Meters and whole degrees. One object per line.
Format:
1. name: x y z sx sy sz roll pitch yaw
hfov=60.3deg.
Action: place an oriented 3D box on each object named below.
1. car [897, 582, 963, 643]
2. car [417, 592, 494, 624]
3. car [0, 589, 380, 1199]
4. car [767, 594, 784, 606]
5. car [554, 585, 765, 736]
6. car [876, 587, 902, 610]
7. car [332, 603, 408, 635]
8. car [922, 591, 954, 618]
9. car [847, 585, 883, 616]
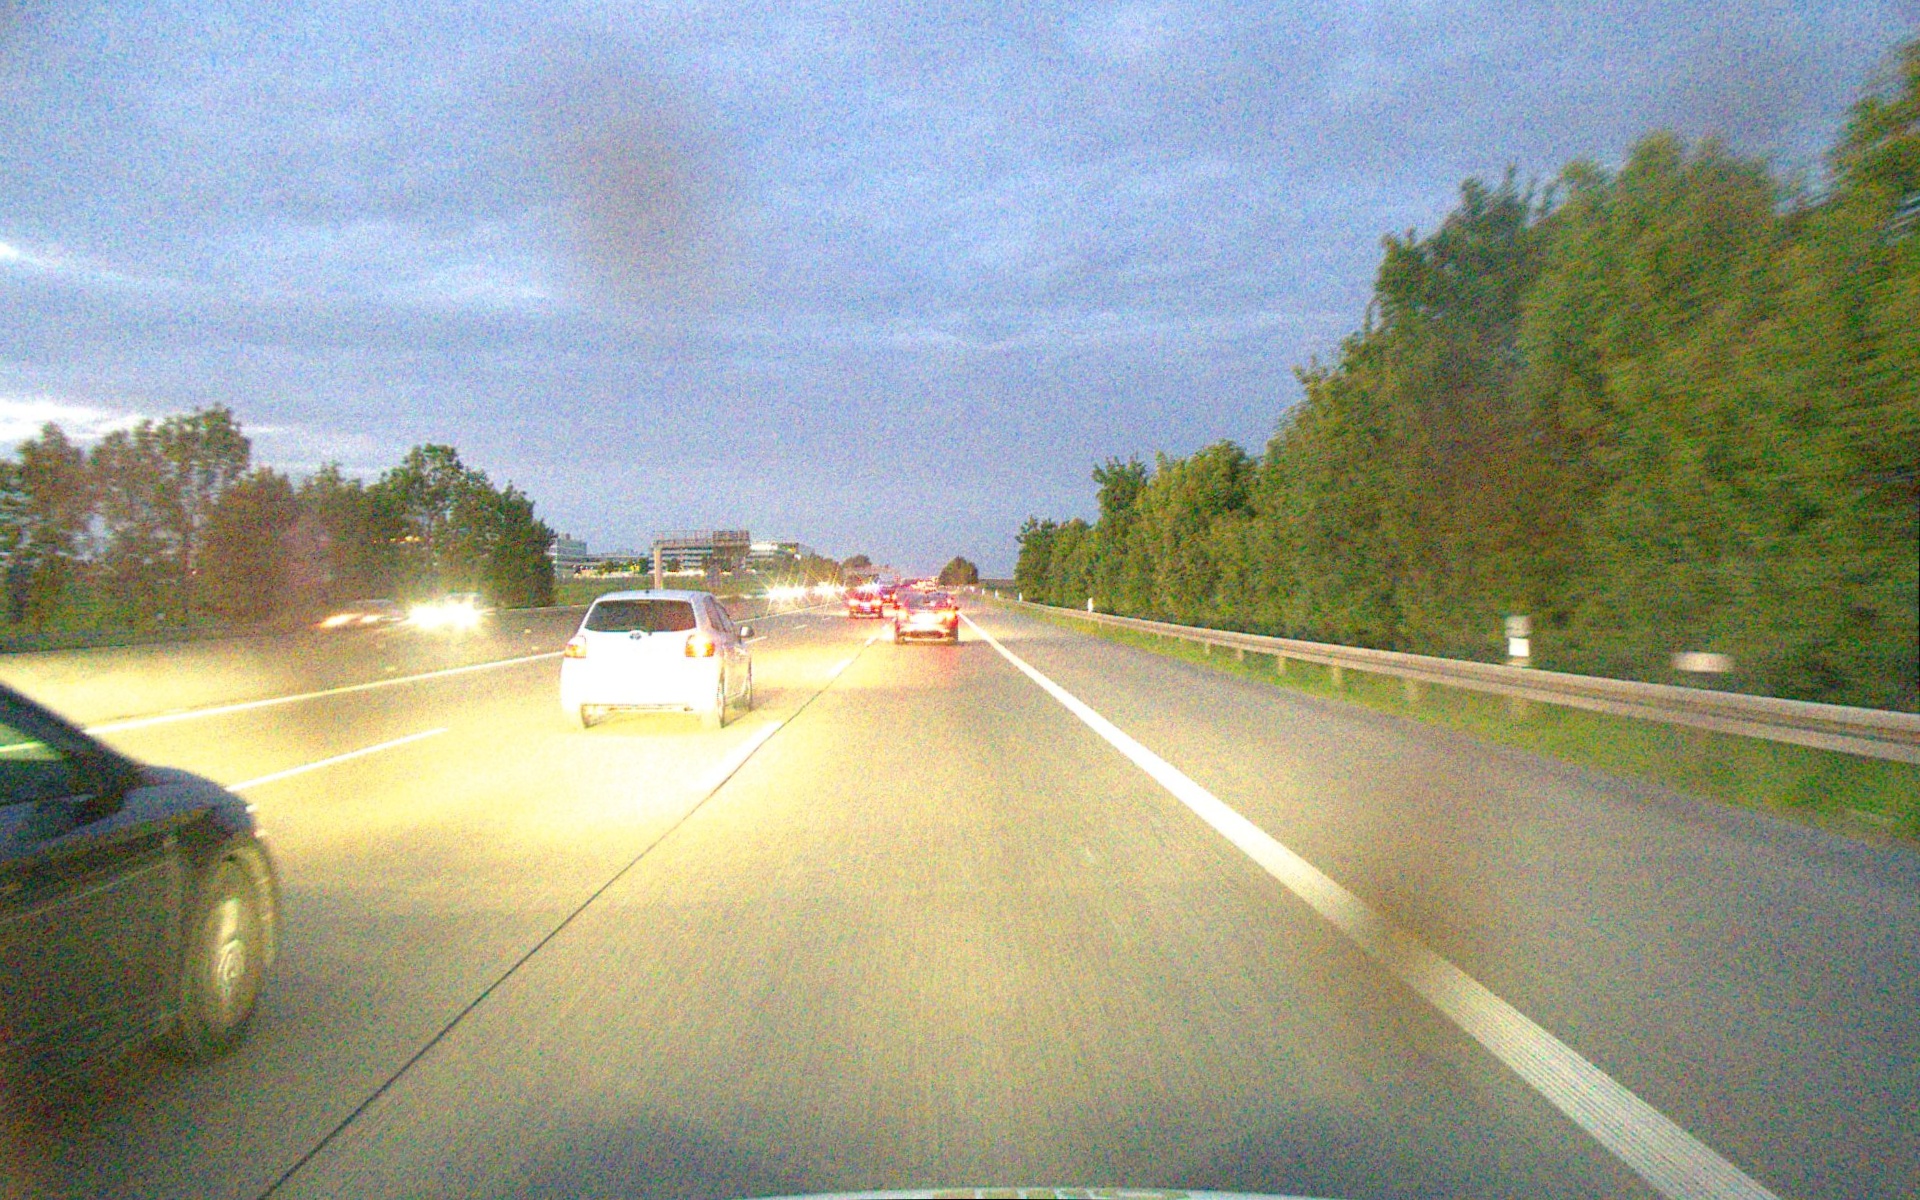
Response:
1. car: -0.886 0.358 48.321 1.842 1.672 3.999 1 0 -2
2. car: -20.041 0.322 65.851 1.892 1.199 3.999 1 0 -1
3. car: -3.046 0.713 4.039 1.688 1.497 4.724 1 0 -2
4. car: -23.297 0.016 208.858 1.709 1.386 4.110 1 0 -2
5. car: -3.400 0.638 19.492 1.709 1.551 4.413 1 0 -1
6. car: -6.179 -0.099 143.782 2.154 1.912 3.999 1 0 -2
7. car: -23.488 0.728 65.969 1.683 1.199 3.999 1 0 -1
8. car: -1.355 0.256 100.226 1.842 1.579 3.998 1 0 -2
9. car: -5.108 0.038 89.421 1.842 1.579 3.998 1 0 -2
